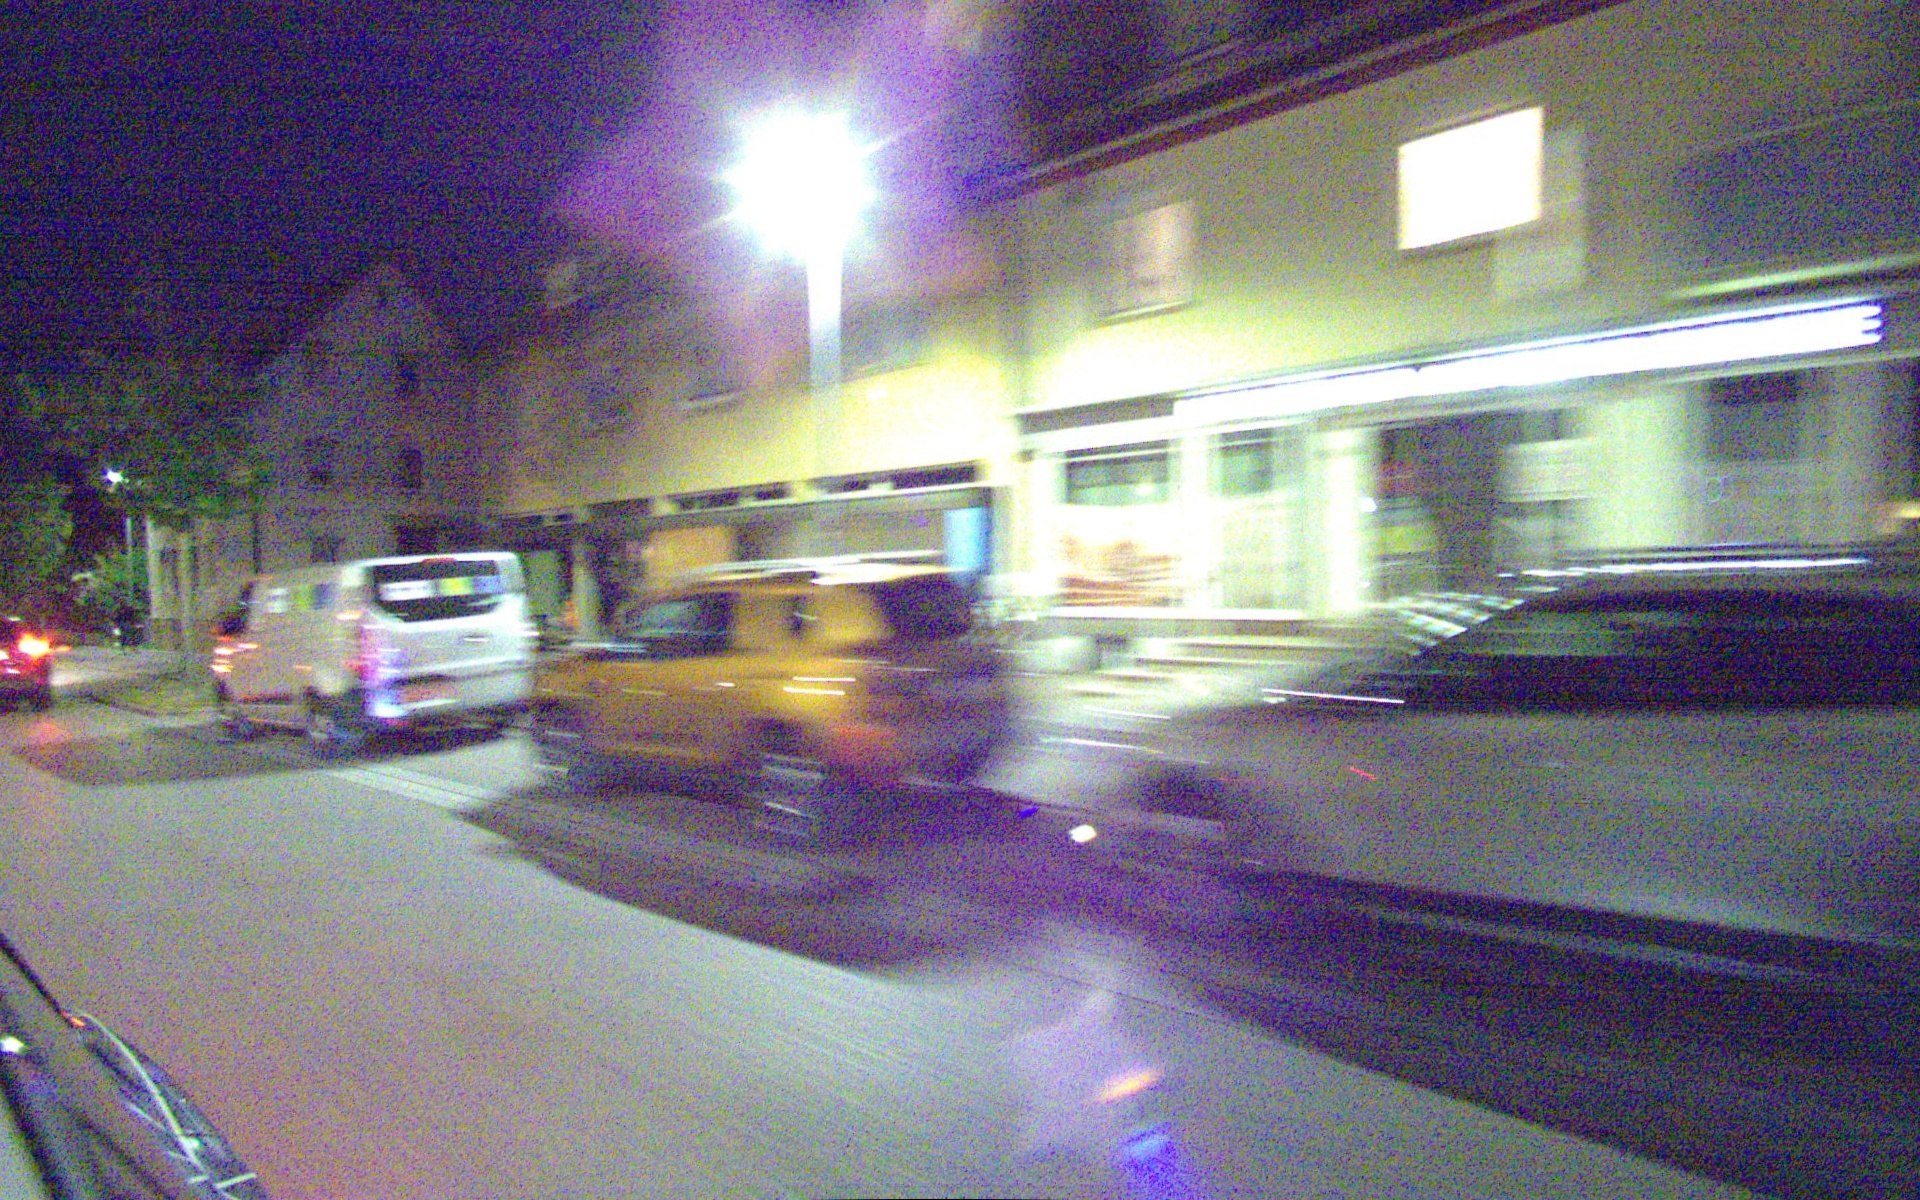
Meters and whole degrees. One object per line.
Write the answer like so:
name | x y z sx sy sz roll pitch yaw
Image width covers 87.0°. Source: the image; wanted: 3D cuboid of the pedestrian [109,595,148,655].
pedestrian | -27.399 0.820 33.347 0.829 1.917 0.737 -1 2 40

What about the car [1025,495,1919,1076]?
car | 2.701 0.465 3.934 4.471 1.559 2.096 -1 2 39

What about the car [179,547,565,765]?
car | -6.799 0.509 11.475 4.882 1.961 2.096 -1 2 39

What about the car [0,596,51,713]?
car | -15.948 0.856 16.061 3.957 1.728 1.702 -1 0 40

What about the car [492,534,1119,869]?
car | -1.243 0.503 7.192 4.164 1.683 2.096 -1 2 39
